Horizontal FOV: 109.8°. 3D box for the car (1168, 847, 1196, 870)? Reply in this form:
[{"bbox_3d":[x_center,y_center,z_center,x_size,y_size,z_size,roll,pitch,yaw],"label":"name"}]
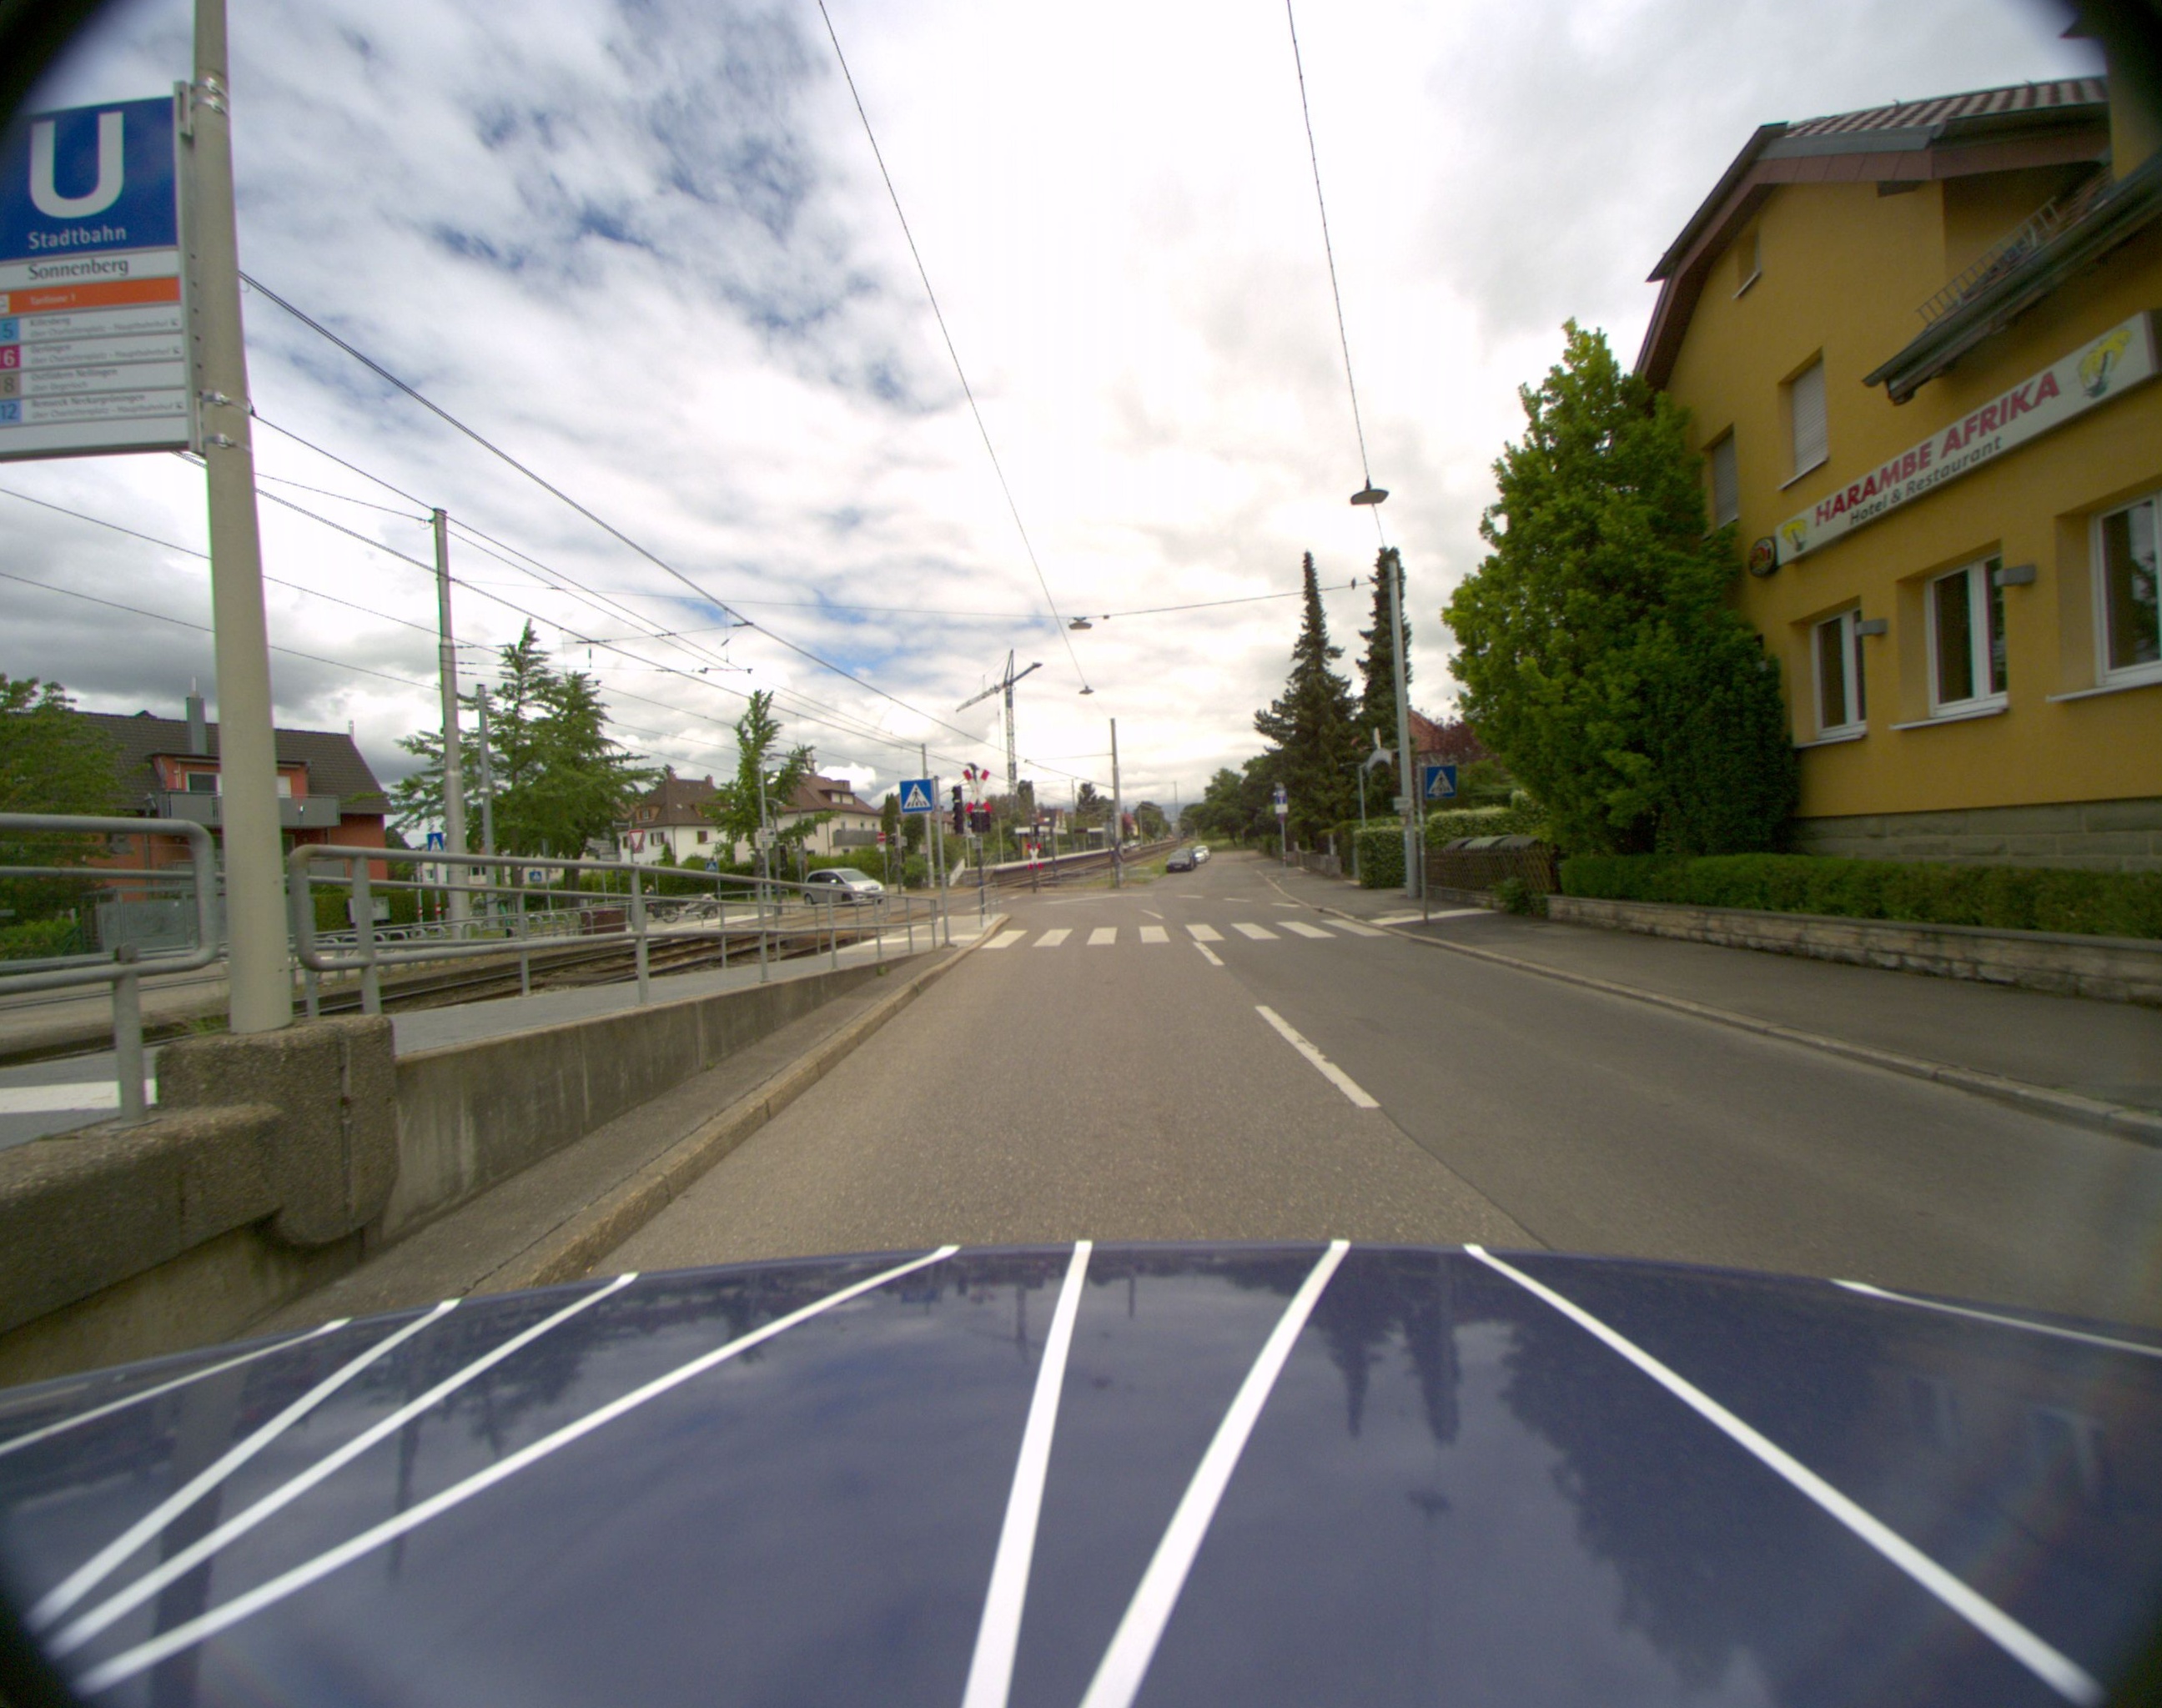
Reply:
[{"bbox_3d":[7.535,0.296,56.505,1.820,1.493,4.122,-4,0,9],"label":"car"}]

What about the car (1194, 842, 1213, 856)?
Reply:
[{"bbox_3d":[13.562,-0.573,84.041,1.852,1.368,4.003,-4,0,12],"label":"car"}]

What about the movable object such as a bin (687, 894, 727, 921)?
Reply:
[{"bbox_3d":[-13.262,1.895,26.969,0.578,0.820,1.096,-3,1,30],"label":"movable object such as a bin"}]

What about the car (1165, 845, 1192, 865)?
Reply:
[{"bbox_3d":[8.284,0.055,64.395,1.852,1.472,4.003,-4,0,12],"label":"car"}]

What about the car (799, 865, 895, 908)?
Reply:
[{"bbox_3d":[-9.980,1.393,32.322,3.917,1.559,1.730,-4,0,35],"label":"car"}]

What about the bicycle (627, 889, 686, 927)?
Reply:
[{"bbox_3d":[-14.327,1.813,25.692,0.465,1.149,1.695,-3,0,26],"label":"bicycle"}]

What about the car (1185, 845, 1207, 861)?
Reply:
[{"bbox_3d":[11.134,-0.153,73.249,1.852,1.368,4.003,-4,0,12],"label":"car"}]

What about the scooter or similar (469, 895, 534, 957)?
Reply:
[{"bbox_3d":[-12.897,1.591,16.918,1.050,1.308,0.490,-3,0,6],"label":"scooter or similar"}]

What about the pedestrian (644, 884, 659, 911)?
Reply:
[{"bbox_3d":[-26.837,2.720,47.526,0.599,1.611,0.676,-6,3,-25],"label":"pedestrian"}]
